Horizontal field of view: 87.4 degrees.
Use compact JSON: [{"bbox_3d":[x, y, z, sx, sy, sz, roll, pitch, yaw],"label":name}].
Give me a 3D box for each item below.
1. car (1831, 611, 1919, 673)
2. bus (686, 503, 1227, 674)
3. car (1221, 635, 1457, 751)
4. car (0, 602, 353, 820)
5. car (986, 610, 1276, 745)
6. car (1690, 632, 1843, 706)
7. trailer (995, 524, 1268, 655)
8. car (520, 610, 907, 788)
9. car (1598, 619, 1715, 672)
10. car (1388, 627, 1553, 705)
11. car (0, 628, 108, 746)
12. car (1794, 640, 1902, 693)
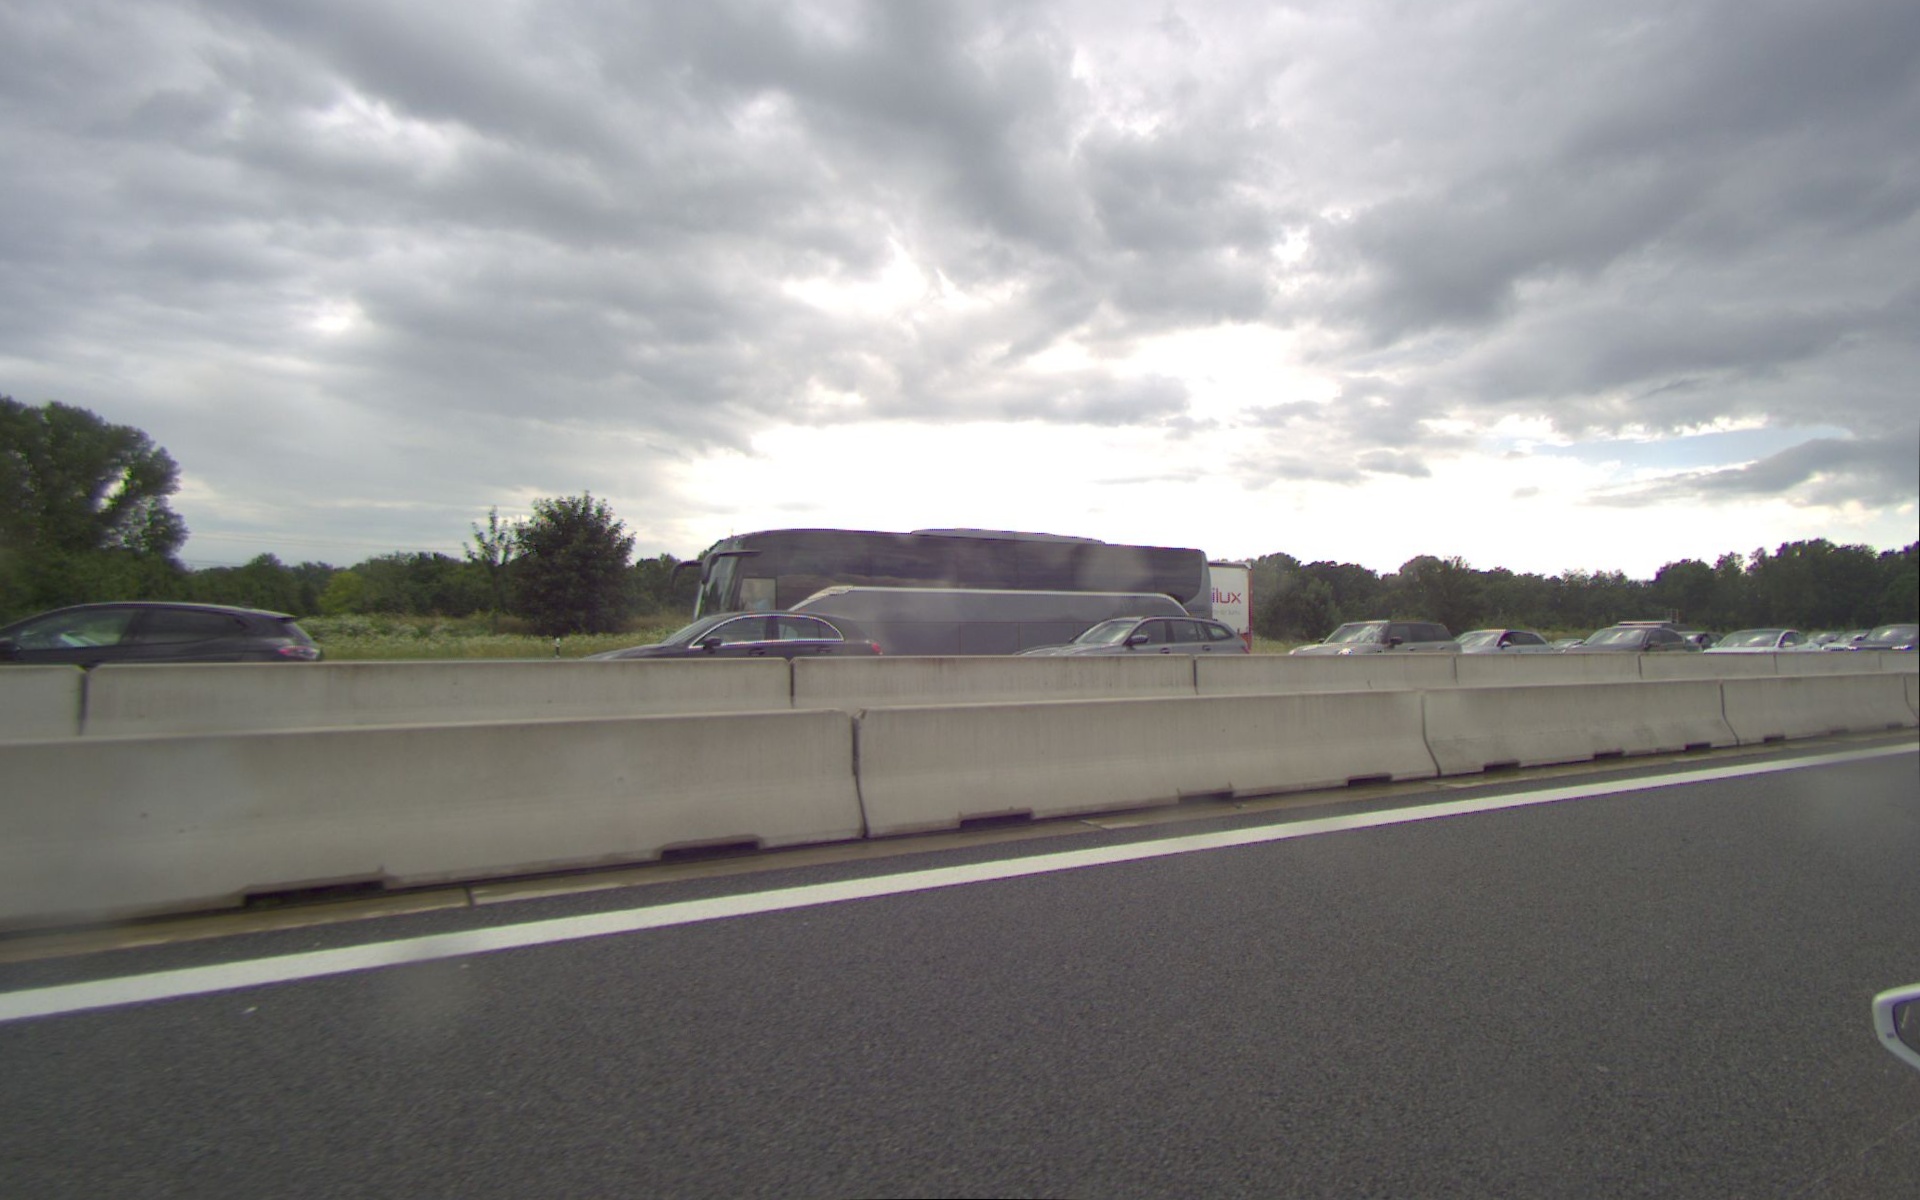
[{"bbox_3d":[33.305,1.472,35.638,5.354,2.040,1.984,1,-1,-30],"label":"car"},{"bbox_3d":[0.531,-0.074,24.740,13.833,3.430,2.674,1,-1,-30],"label":"bus"},{"bbox_3d":[7.699,1.779,20.329,4.641,2.040,1.984,1,-1,-30],"label":"car"},{"bbox_3d":[-9.000,1.037,10.313,4.641,1.993,1.984,1,-1,-30],"label":"car"},{"bbox_3d":[2.930,1.208,16.963,4.641,1.993,1.984,1,-1,-30],"label":"car"},{"bbox_3d":[24.468,2.032,30.444,4.913,2.040,1.984,1,-1,-30],"label":"car"},{"bbox_3d":[5.736,-0.186,32.740,9.053,3.812,2.847,1,-1,-30],"label":"trailer"},{"bbox_3d":[-3.220,1.180,13.364,4.641,1.993,1.984,1,-1,-30],"label":"car"},{"bbox_3d":[28.679,1.848,41.339,4.765,2.040,1.986,1,-1,-28],"label":"car"},{"bbox_3d":[14.507,1.818,28.511,4.641,1.993,1.984,1,-1,-30],"label":"car"},{"bbox_3d":[-18.432,1.546,18.072,4.372,2.040,1.984,1,-1,-30],"label":"car"},{"bbox_3d":[37.687,2.777,42.606,4.913,2.040,1.984,1,-1,-30],"label":"car"}]
